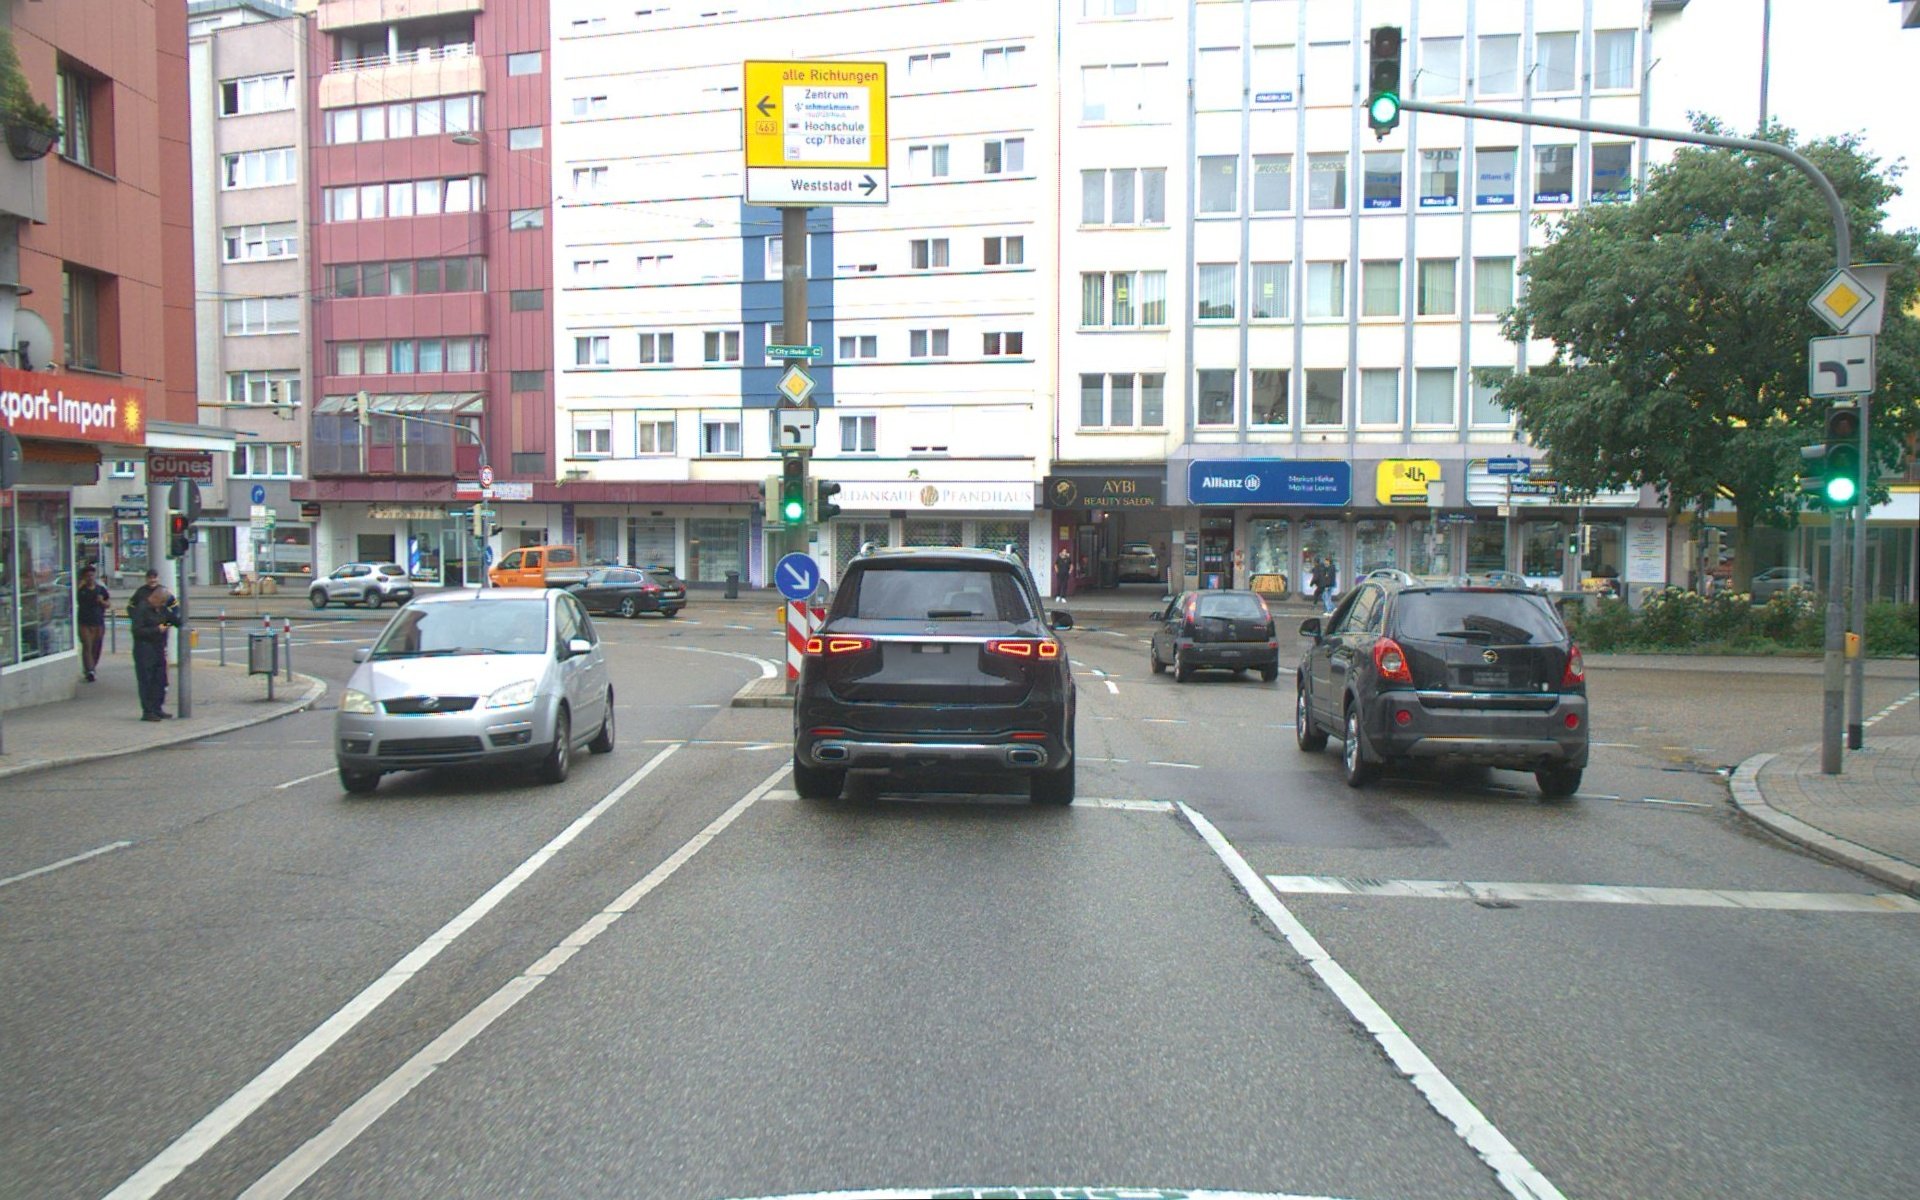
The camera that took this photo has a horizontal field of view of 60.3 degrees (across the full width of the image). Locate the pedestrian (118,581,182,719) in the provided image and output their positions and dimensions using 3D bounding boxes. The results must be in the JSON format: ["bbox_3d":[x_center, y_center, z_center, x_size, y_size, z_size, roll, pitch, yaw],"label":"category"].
[{"bbox_3d":[-10.325,0.623,21.097,0.543,1.727,0.623,0,0,-6],"label":"pedestrian"}]

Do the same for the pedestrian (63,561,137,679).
[{"bbox_3d":[-13.896,0.307,26.737,0.708,1.863,0.828,0,0,31],"label":"pedestrian"}]

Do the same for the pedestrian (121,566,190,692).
[{"bbox_3d":[-12.196,0.432,25.092,0.747,1.881,0.842,0,0,-11],"label":"pedestrian"}]

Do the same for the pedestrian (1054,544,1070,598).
[{"bbox_3d":[3.416,-0.977,55.475,0.552,1.717,0.756,0,6,4],"label":"pedestrian"}]

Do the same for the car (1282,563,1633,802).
[{"bbox_3d":[4.127,0.576,14.534,1.858,1.724,4.507,2,1,2],"label":"car"}]

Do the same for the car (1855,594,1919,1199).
[{"bbox_3d":[3.245,0.799,2.405,1.654,1.502,4.000,3,0,0],"label":"car"}]

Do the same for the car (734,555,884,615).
[{"bbox_3d":[-4.635,-0.466,50.574,4.403,1.687,1.823,2,-1,35],"label":"car"}]

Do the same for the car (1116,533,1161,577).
[{"bbox_3d":[7.221,-1.808,67.070,1.759,1.699,4.003,0,1,6],"label":"car"}]

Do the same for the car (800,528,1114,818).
[{"bbox_3d":[-0.174,0.454,13.020,1.998,1.830,4.659,1,1,-4],"label":"car"}]

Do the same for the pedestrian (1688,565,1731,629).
[{"bbox_3d":[22.675,-0.090,50.059,0.875,1.859,0.675,5,-2,-19],"label":"pedestrian"}]

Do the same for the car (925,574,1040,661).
[{"bbox_3d":[0.363,0.288,31.802,1.836,1.521,4.397,1,1,-4],"label":"car"}]

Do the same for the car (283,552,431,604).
[{"bbox_3d":[-20.407,-0.731,55.963,4.553,1.542,1.930,2,-1,22],"label":"car"}]

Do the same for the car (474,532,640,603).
[{"bbox_3d":[-13.918,-1.125,57.110,5.305,2.267,2.248,2,0,26],"label":"car"}]

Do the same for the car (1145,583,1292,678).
[{"bbox_3d":[4.145,0.441,27.068,1.731,1.422,4.000,0,1,-1],"label":"car"}]

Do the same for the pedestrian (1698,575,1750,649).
[{"bbox_3d":[20.001,0.303,43.293,0.807,1.858,0.890,3,2,-5],"label":"pedestrian"}]

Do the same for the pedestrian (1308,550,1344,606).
[{"bbox_3d":[11.784,-0.704,53.306,1.008,1.717,0.831,0,6,6],"label":"pedestrian"}]

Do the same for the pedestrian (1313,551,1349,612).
[{"bbox_3d":[11.626,-0.600,51.843,1.008,1.829,0.831,0,6,6],"label":"pedestrian"}]

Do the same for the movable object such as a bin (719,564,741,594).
[{"bbox_3d":[-8.044,-0.731,57.827,0.531,0.966,0.613,-7,9,-32],"label":"movable object such as a bin"}]

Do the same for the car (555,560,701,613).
[{"bbox_3d":[-9.966,-0.396,49.611,4.150,1.512,1.993,0,1,35],"label":"car"}]

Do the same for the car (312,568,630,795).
[{"bbox_3d":[-4.072,0.609,14.464,1.701,1.620,4.172,-2,0,-3],"label":"car"}]
